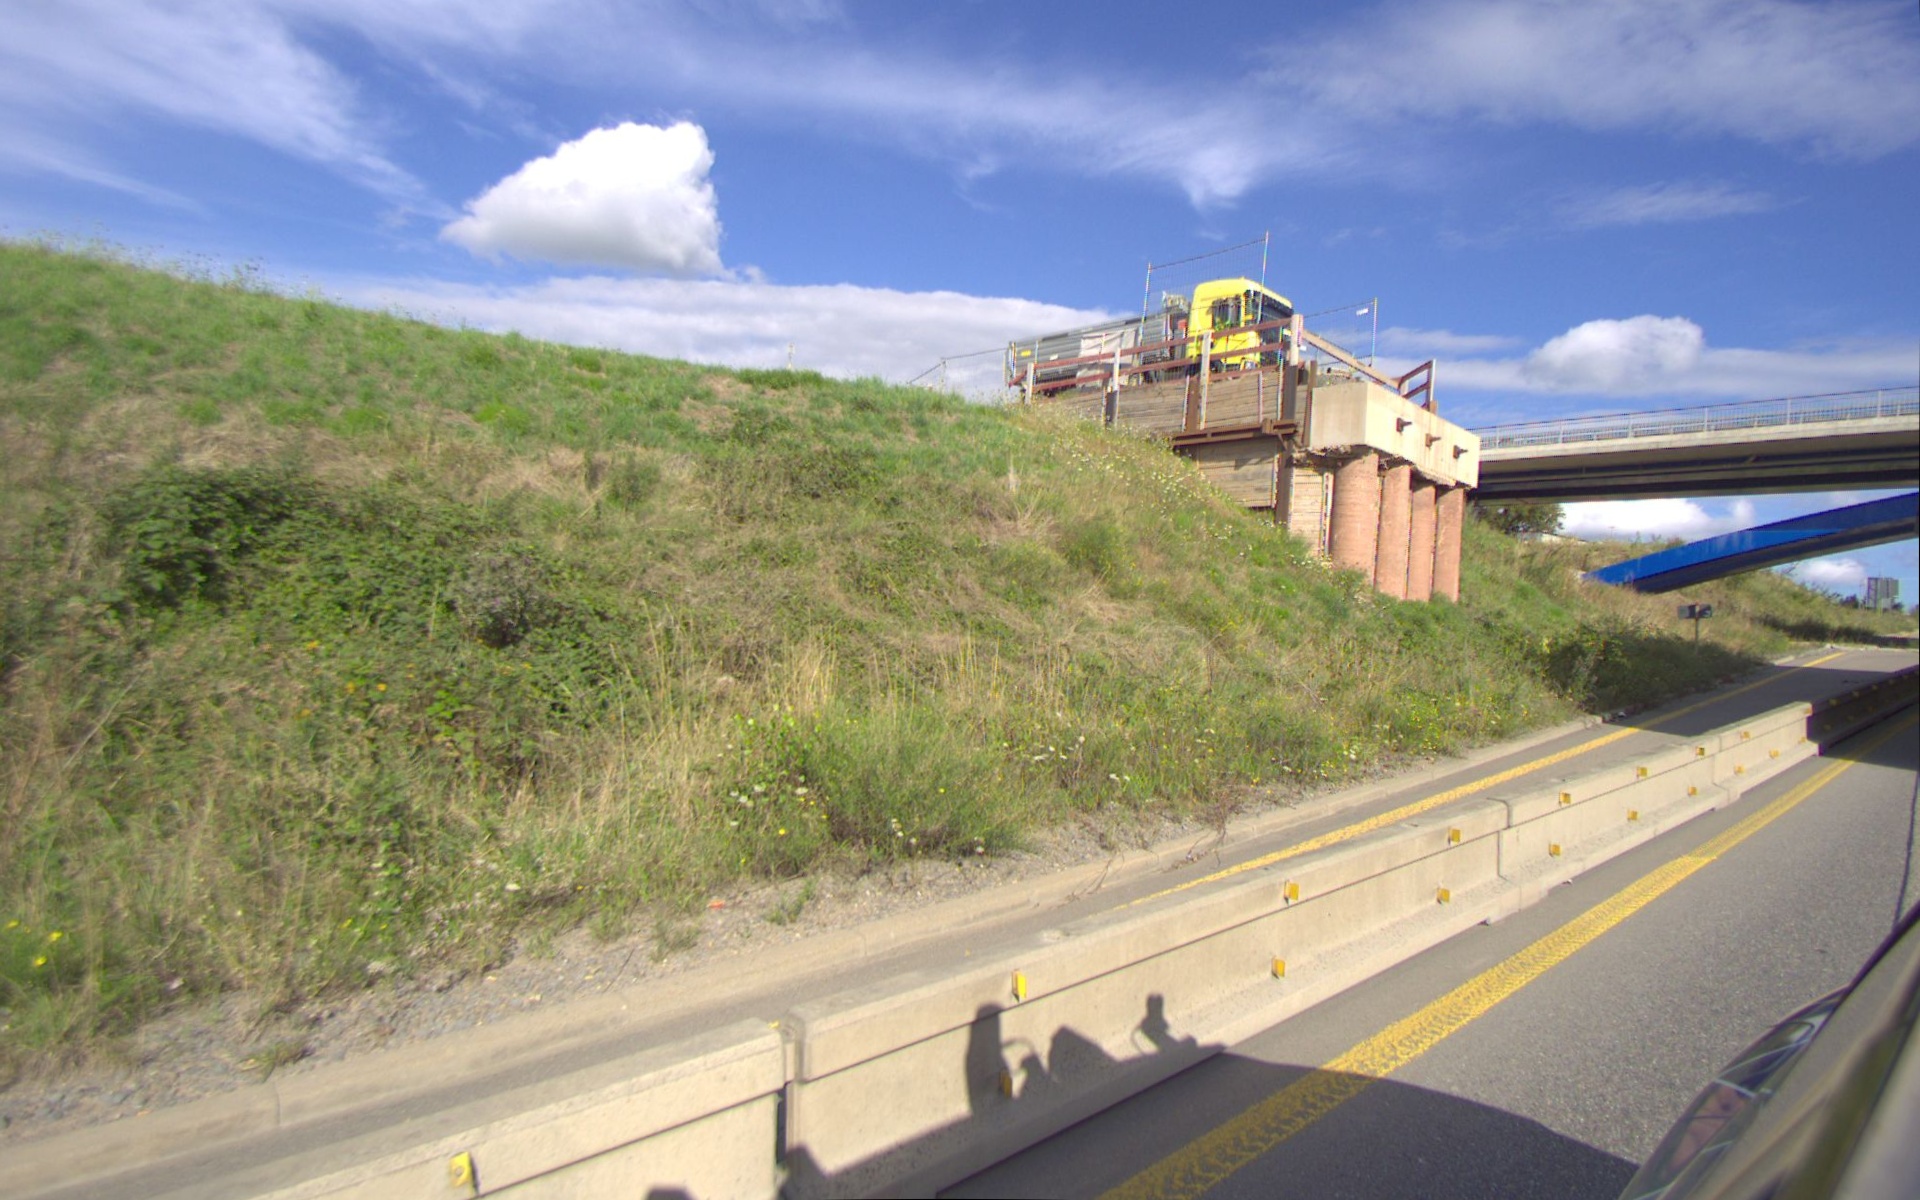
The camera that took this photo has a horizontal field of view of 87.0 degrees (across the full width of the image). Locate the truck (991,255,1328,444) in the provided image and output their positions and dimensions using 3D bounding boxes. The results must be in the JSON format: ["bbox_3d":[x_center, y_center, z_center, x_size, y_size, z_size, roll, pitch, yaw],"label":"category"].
[{"bbox_3d":[5.141,-6.547,28.119,2.909,3.268,9.275,1,1,-42],"label":"truck"}]
